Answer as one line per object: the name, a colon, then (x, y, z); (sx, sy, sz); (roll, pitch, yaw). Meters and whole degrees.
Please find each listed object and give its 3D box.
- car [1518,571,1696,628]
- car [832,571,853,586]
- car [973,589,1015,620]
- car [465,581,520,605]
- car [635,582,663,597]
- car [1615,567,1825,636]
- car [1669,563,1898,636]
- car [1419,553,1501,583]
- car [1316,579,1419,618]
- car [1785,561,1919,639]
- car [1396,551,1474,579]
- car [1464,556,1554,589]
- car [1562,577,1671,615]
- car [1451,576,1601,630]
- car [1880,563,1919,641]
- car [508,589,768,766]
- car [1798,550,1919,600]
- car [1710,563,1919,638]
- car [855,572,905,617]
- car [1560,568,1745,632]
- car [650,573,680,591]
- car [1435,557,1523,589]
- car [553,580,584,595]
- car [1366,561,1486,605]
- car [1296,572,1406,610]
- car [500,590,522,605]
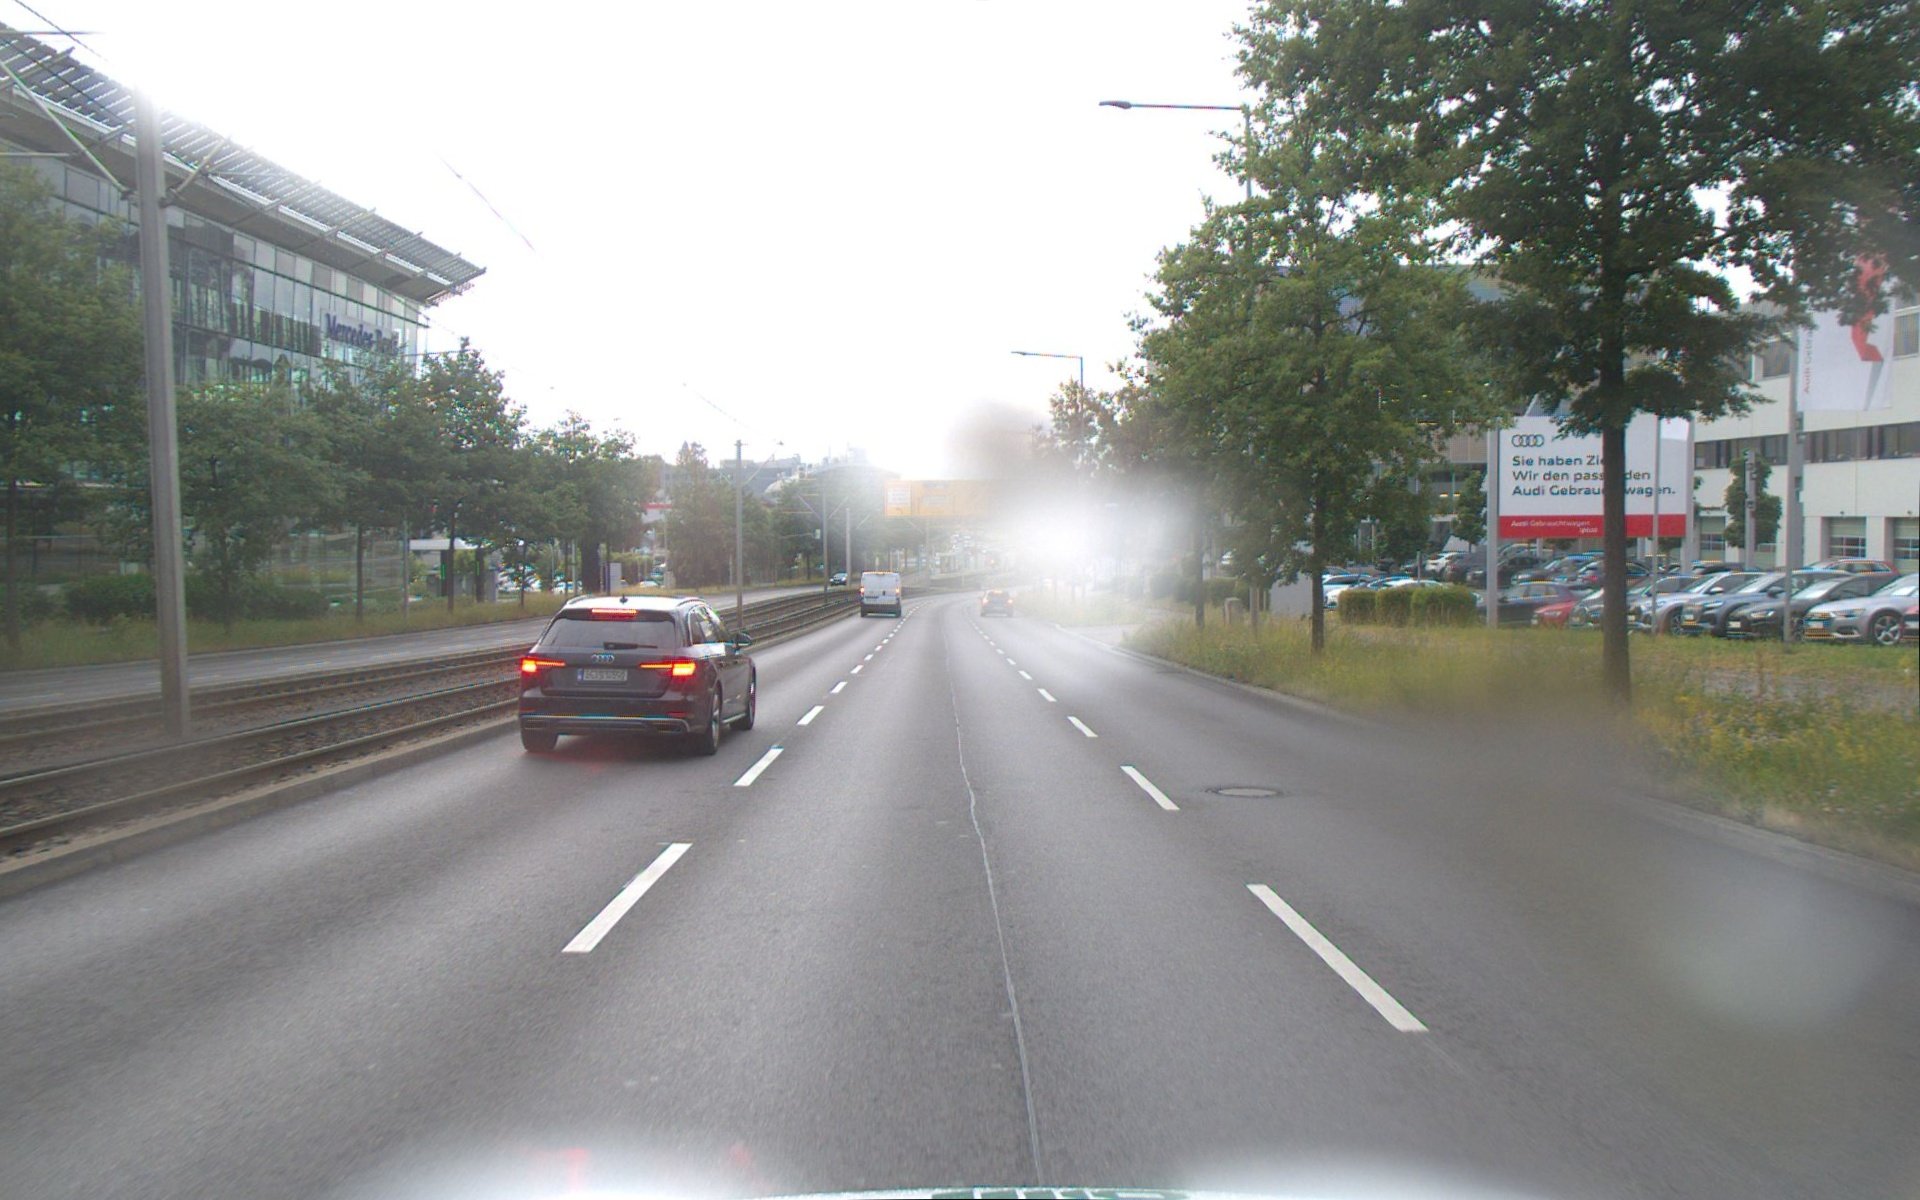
car: (18.512, -0.012, 47.430); (4.375, 1.578, 1.929); (-1, 0, -6)
car: (-13.285, -2.383, 186.694); (1.844, 1.547, 4.404); (-3, 1, 2)
car: (1.854, 0.258, 91.319); (1.981, 1.651, 3.997); (1, 0, -3)
car: (-37.283, -0.562, 132.080); (3.911, 1.780, 1.997); (1, 0, -7)
car: (-33.351, -1.164, 177.426); (1.969, 1.536, 3.967); (1, 0, -26)
car: (19.021, 0.030, 41.497); (4.371, 1.578, 1.930); (-1, 0, -2)
car: (19.109, -0.008, 38.517); (4.371, 1.555, 1.930); (-1, 0, -2)
car: (27.744, -1.793, 91.815); (4.023, 1.601, 1.692); (0, 1, -2)
car: (17.558, -0.072, 71.386); (4.023, 1.622, 1.692); (0, 0, -2)
car: (18.952, -0.012, 32.680); (4.371, 1.481, 1.930); (-1, 0, -2)
car: (27.636, -2.038, 96.284); (4.023, 1.601, 1.759); (0, 1, -2)
car: (27.786, -1.389, 83.811); (4.023, 1.601, 1.692); (-1, 2, -2)
car: (28.238, -0.152, 71.185); (4.023, 1.602, 1.692); (0, -1, -2)
car: (17.750, 0.101, 52.072); (1.814, 1.621, 4.313); (0, 0, -32)
car: (19.030, -0.024, 29.351); (4.309, 1.372, 1.930); (-2, -1, -2)
car: (-3.020, 0.652, 16.460); (1.728, 1.489, 4.626); (1, 0, -1)
car: (35.253, -0.958, 64.195); (4.432, 1.887, 2.001); (0, 1, 3)
car: (18.835, -0.004, 35.711); (4.371, 1.481, 1.930); (-2, 0, -2)
car: (-4.146, -0.251, 85.895); (2.461, 2.215, 5.146); (1, 0, -3)
car: (18.536, 0.007, 44.384); (4.191, 1.621, 1.825); (-1, 0, -3)
car: (-28.962, -1.757, 162.469); (1.952, 1.679, 4.002); (1, 0, 4)
car: (27.119, -1.403, 86.538); (4.023, 1.601, 1.825); (0, 1, -2)
car: (-41.211, -1.319, 173.965); (1.974, 1.536, 3.956); (1, 0, -32)
car: (17.939, -0.625, 63.735); (4.030, 1.622, 1.944); (0, -1, -9)
car: (17.336, -0.389, 73.443); (4.428, 1.622, 1.692); (0, 0, -2)
car: (-46.221, -0.265, 170.241); (1.727, 1.520, 3.974); (1, 0, -22)
